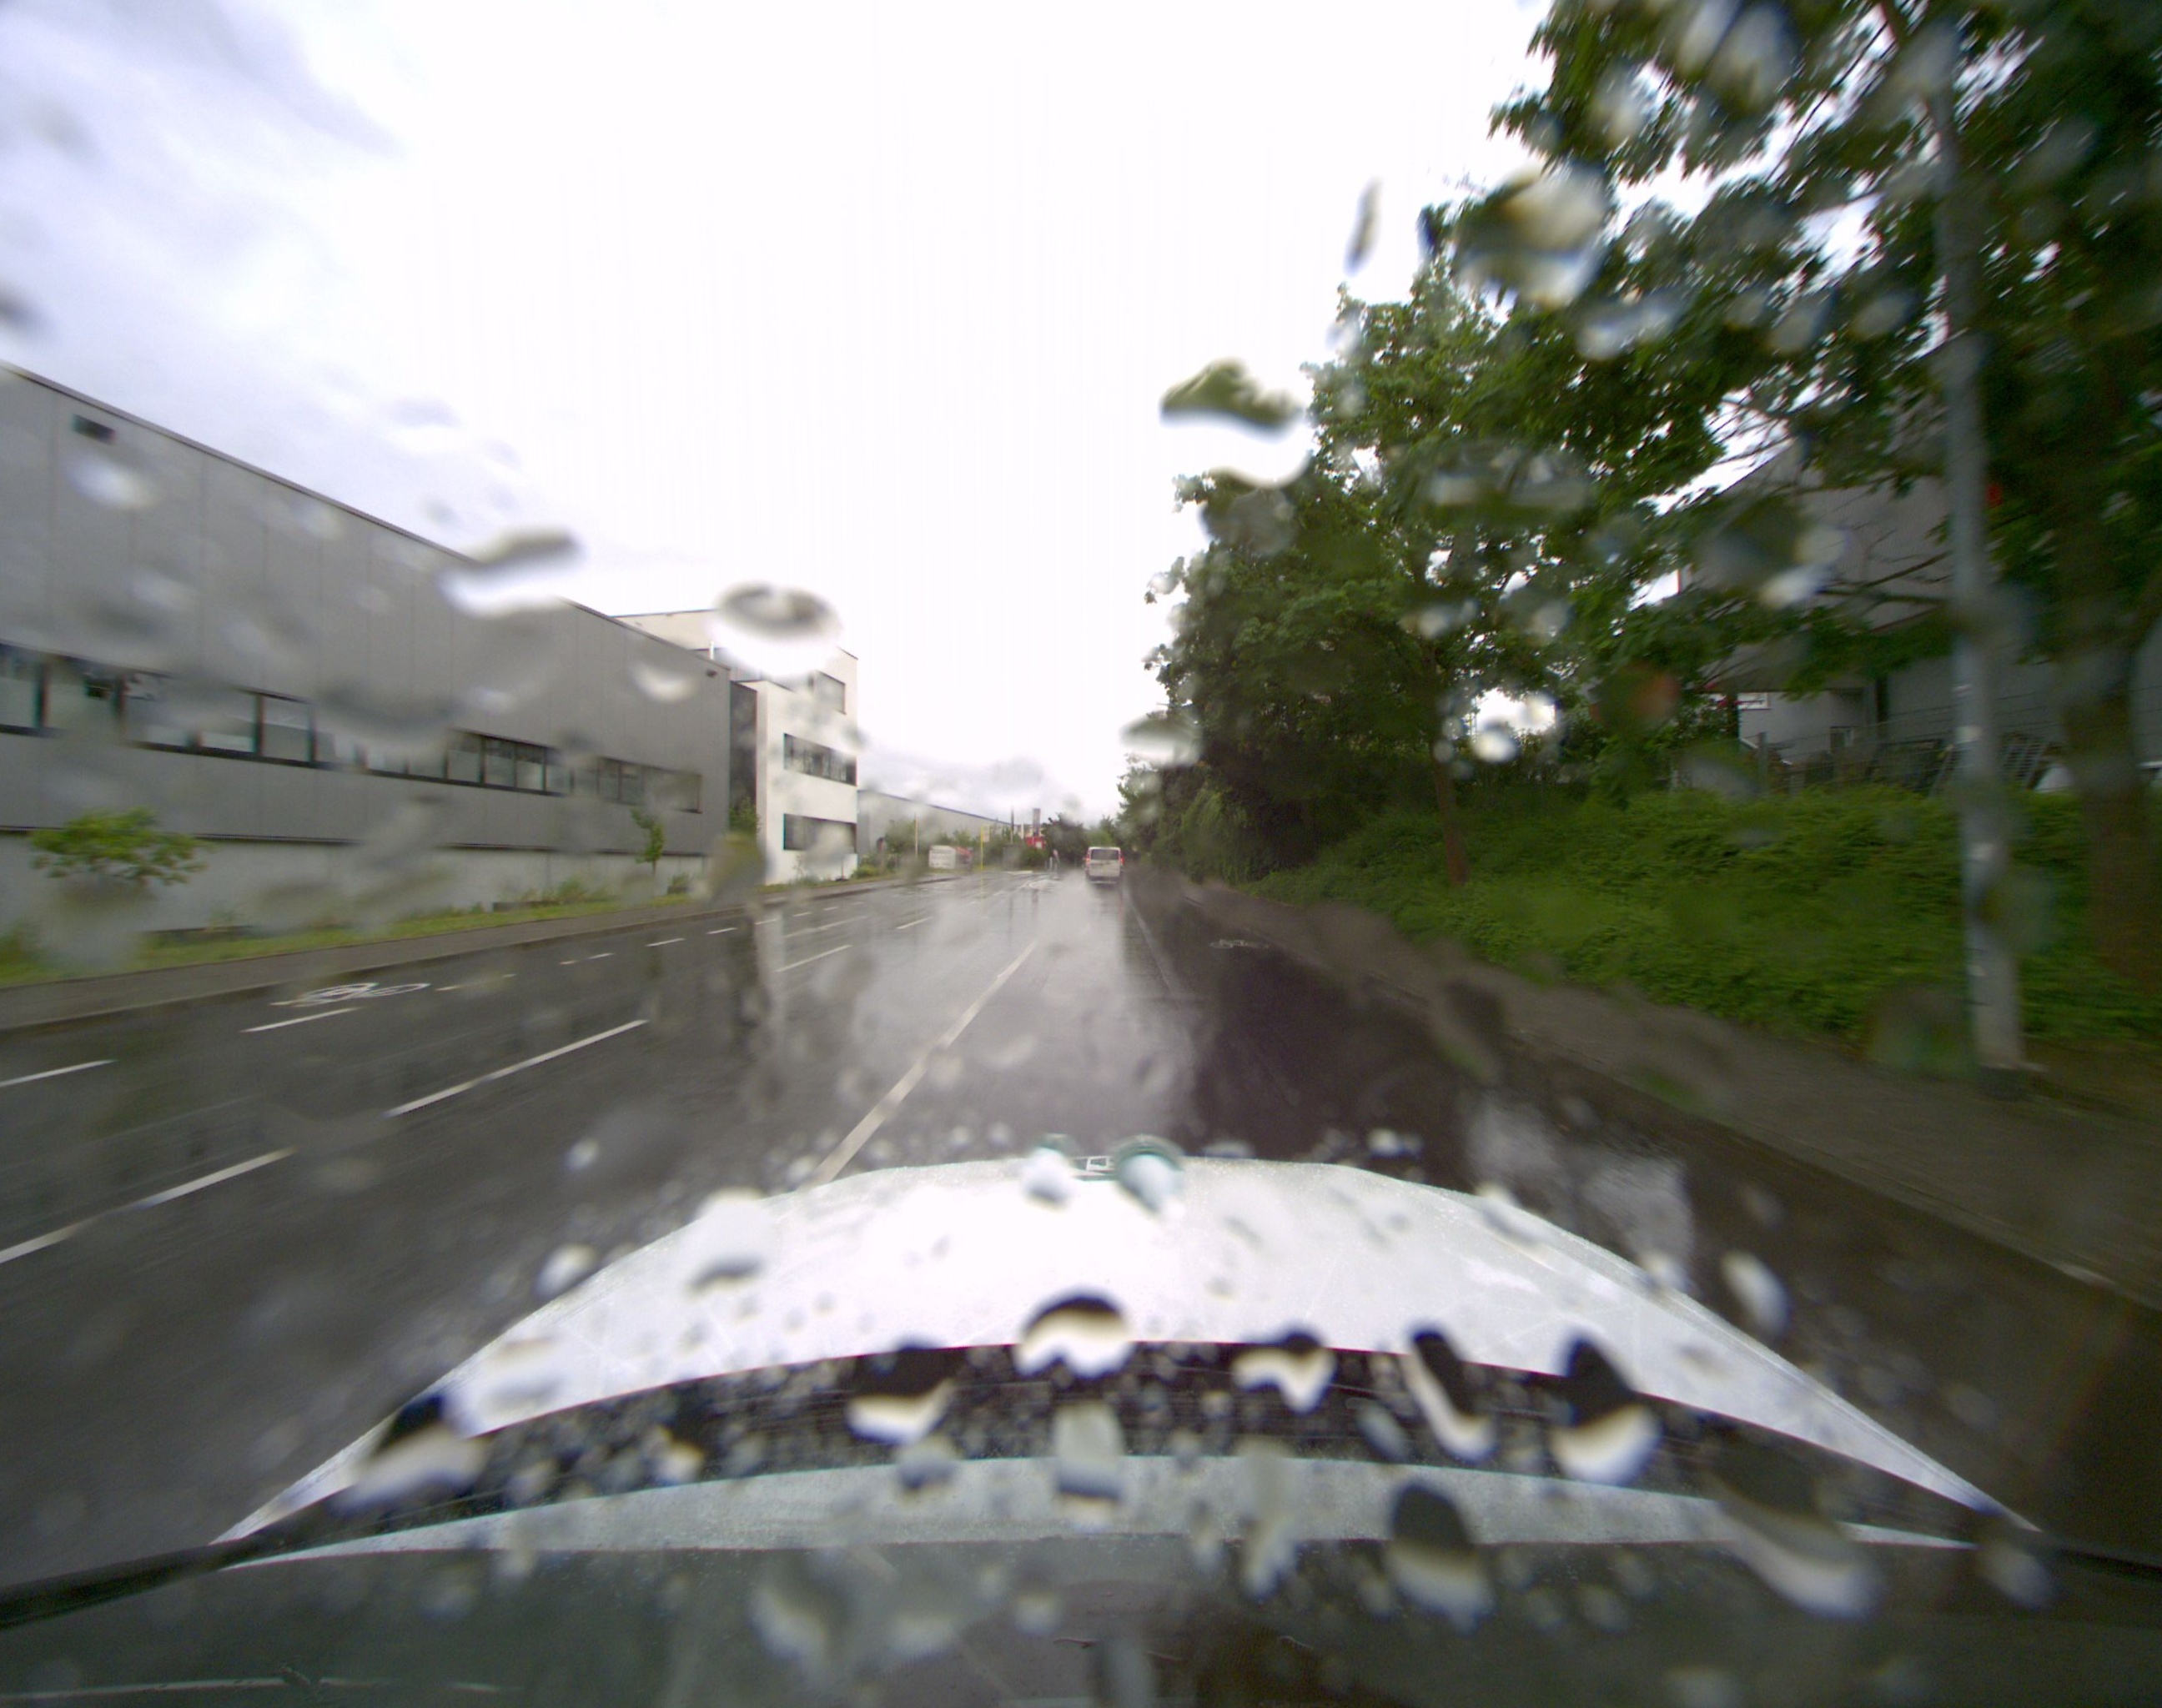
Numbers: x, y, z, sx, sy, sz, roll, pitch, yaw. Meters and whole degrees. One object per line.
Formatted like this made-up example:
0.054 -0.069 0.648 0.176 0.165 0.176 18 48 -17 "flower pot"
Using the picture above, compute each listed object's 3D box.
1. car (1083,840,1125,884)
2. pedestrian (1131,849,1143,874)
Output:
1.194 0.375 41.619 1.891 2.018 5.375 -3 0 2 "car"
4.370 0.555 63.811 0.774 1.907 0.728 -3 -2 0 "pedestrian"
